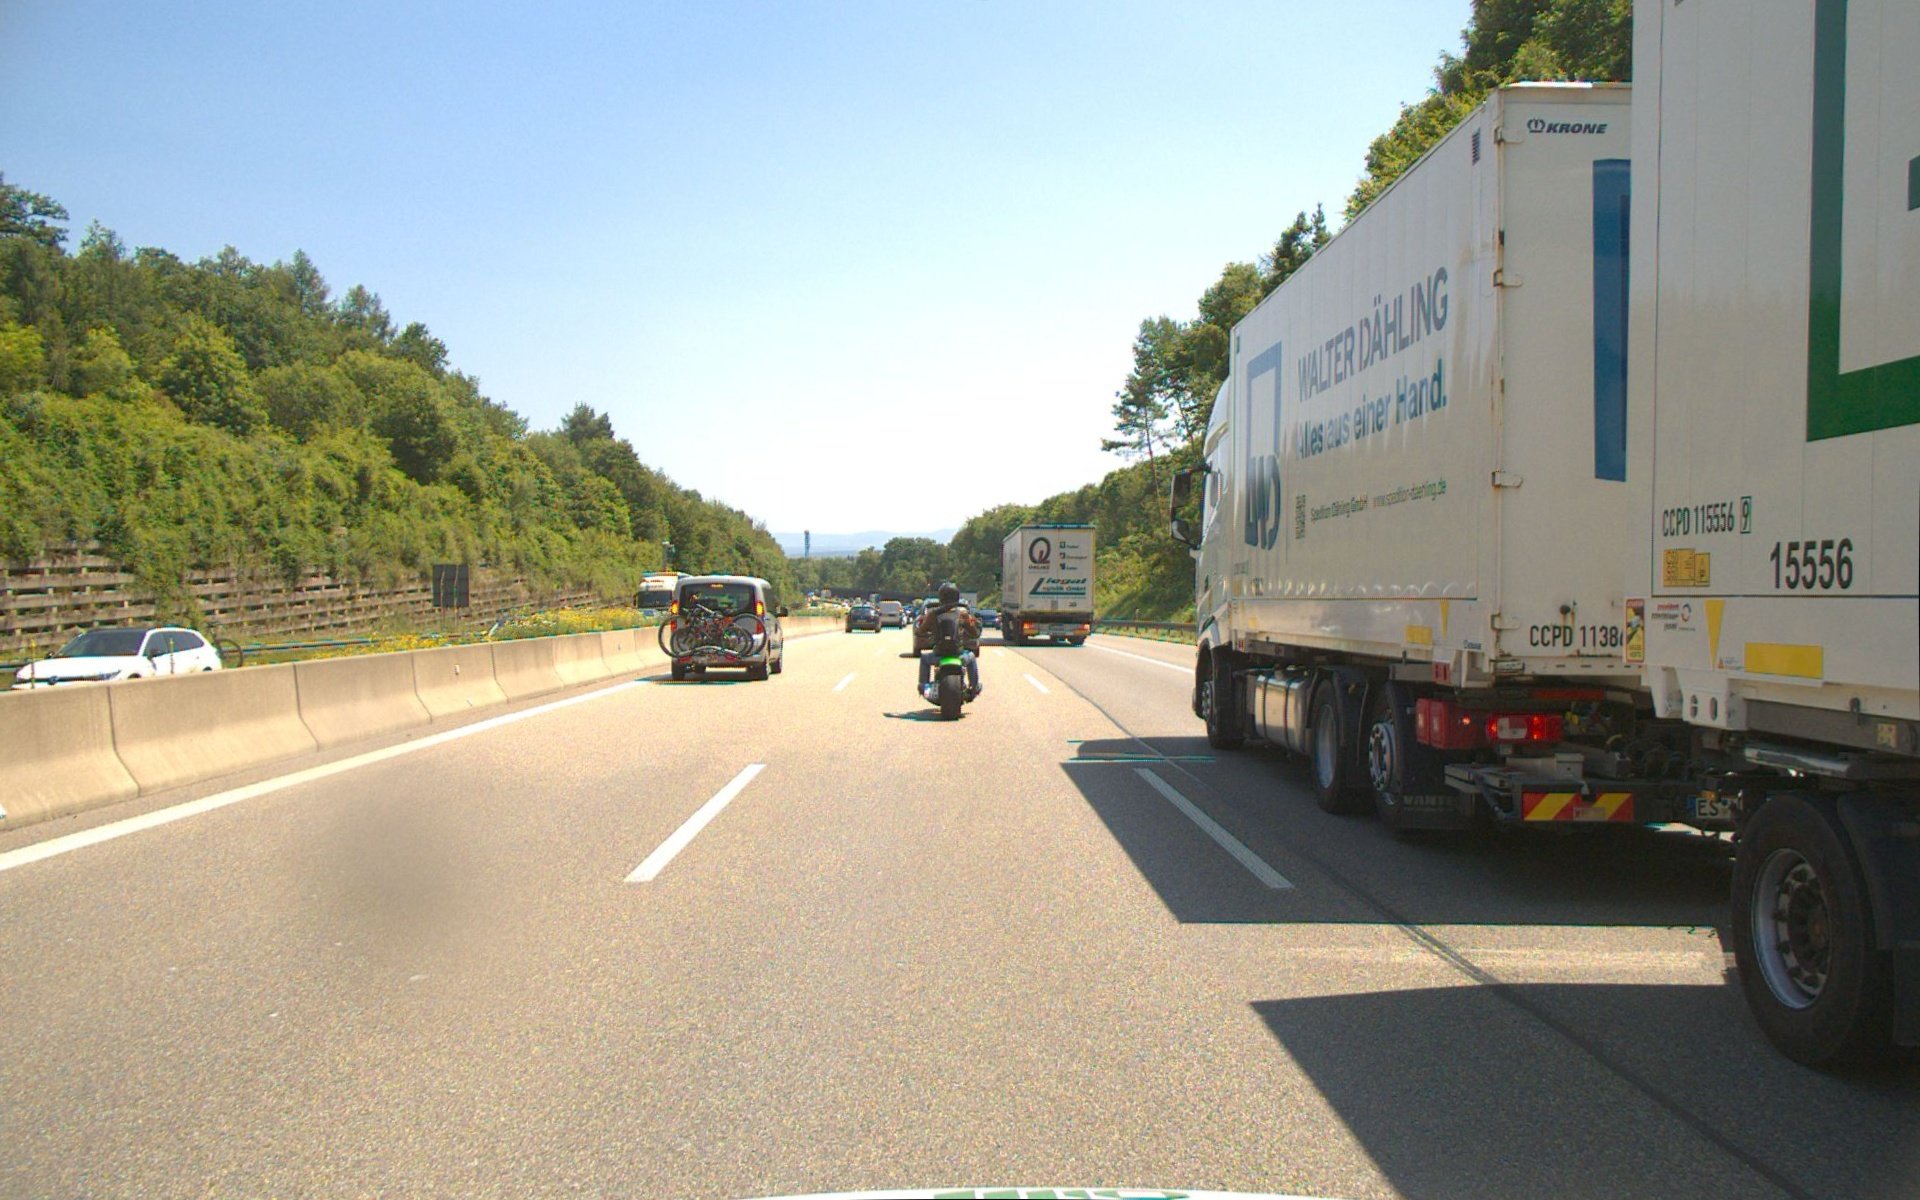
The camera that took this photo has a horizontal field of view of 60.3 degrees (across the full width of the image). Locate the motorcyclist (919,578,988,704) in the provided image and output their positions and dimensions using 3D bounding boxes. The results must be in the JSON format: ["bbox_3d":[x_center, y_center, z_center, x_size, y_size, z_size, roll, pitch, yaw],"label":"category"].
[{"bbox_3d":[-0.082,0.509,20.863,0.838,1.541,0.914,0,0,0],"label":"motorcyclist"}]

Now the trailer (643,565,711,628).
[{"bbox_3d":[-19.662,-0.282,115.653,2.625,4.085,14.185,0,0,-1],"label":"trailer"}]

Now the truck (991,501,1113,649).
[{"bbox_3d":[3.210,-0.890,63.763,3.315,4.800,17.705,2,0,-1],"label":"truck"}]

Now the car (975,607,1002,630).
[{"bbox_3d":[2.014,1.320,119.222,1.794,1.553,4.026,1,1,-1],"label":"car"}]

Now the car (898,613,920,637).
[{"bbox_3d":[-4.196,2.046,136.339,1.794,1.842,4.119,1,1,-1],"label":"car"}]

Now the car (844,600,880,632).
[{"bbox_3d":[-5.183,0.824,87.885,1.722,1.570,4.394,1,1,-1],"label":"car"}]

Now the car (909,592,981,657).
[{"bbox_3d":[-0.422,0.603,43.892,1.808,1.584,4.438,1,1,-1],"label":"car"}]

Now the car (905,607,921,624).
[{"bbox_3d":[-5.402,1.744,191.941,1.794,1.842,4.119,1,1,-1],"label":"car"}]

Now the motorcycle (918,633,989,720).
[{"bbox_3d":[-0.075,0.943,20.955,0.844,0.999,2.130,0,0,0],"label":"motorcycle"}]

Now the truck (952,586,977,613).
[{"bbox_3d":[0.600,-0.101,216.076,3.005,3.405,9.650,2,0,-1],"label":"truck"}]

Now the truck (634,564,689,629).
[{"bbox_3d":[-19.536,-0.230,108.452,2.626,4.101,5.929,0,0,-1],"label":"truck"}]

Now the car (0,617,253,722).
[{"bbox_3d":[-14.883,1.160,29.799,1.921,1.521,5.885,-1,1,-2],"label":"car"}]

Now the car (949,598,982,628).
[{"bbox_3d":[0.295,0.722,94.399,1.794,1.585,4.119,1,1,-1],"label":"car"}]

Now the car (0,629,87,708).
[{"bbox_3d":[-20.521,1.454,34.853,1.860,1.521,4.477,-1,1,0],"label":"car"}]

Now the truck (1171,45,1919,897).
[{"bbox_3d":[3.837,-0.650,13.403,2.625,4.130,10.623,1,0,-1],"label":"truck"}]

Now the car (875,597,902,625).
[{"bbox_3d":[-4.976,0.723,115.496,1.794,1.842,4.119,1,1,-1],"label":"car"}]

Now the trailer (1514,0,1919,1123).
[{"bbox_3d":[4.083,-0.620,2.901,2.625,4.248,10.063,1,0,-1],"label":"trailer"}]

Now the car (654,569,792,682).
[{"bbox_3d":[-4.285,0.433,30.719,1.860,1.880,5.481,1,0,-1],"label":"car"}]
